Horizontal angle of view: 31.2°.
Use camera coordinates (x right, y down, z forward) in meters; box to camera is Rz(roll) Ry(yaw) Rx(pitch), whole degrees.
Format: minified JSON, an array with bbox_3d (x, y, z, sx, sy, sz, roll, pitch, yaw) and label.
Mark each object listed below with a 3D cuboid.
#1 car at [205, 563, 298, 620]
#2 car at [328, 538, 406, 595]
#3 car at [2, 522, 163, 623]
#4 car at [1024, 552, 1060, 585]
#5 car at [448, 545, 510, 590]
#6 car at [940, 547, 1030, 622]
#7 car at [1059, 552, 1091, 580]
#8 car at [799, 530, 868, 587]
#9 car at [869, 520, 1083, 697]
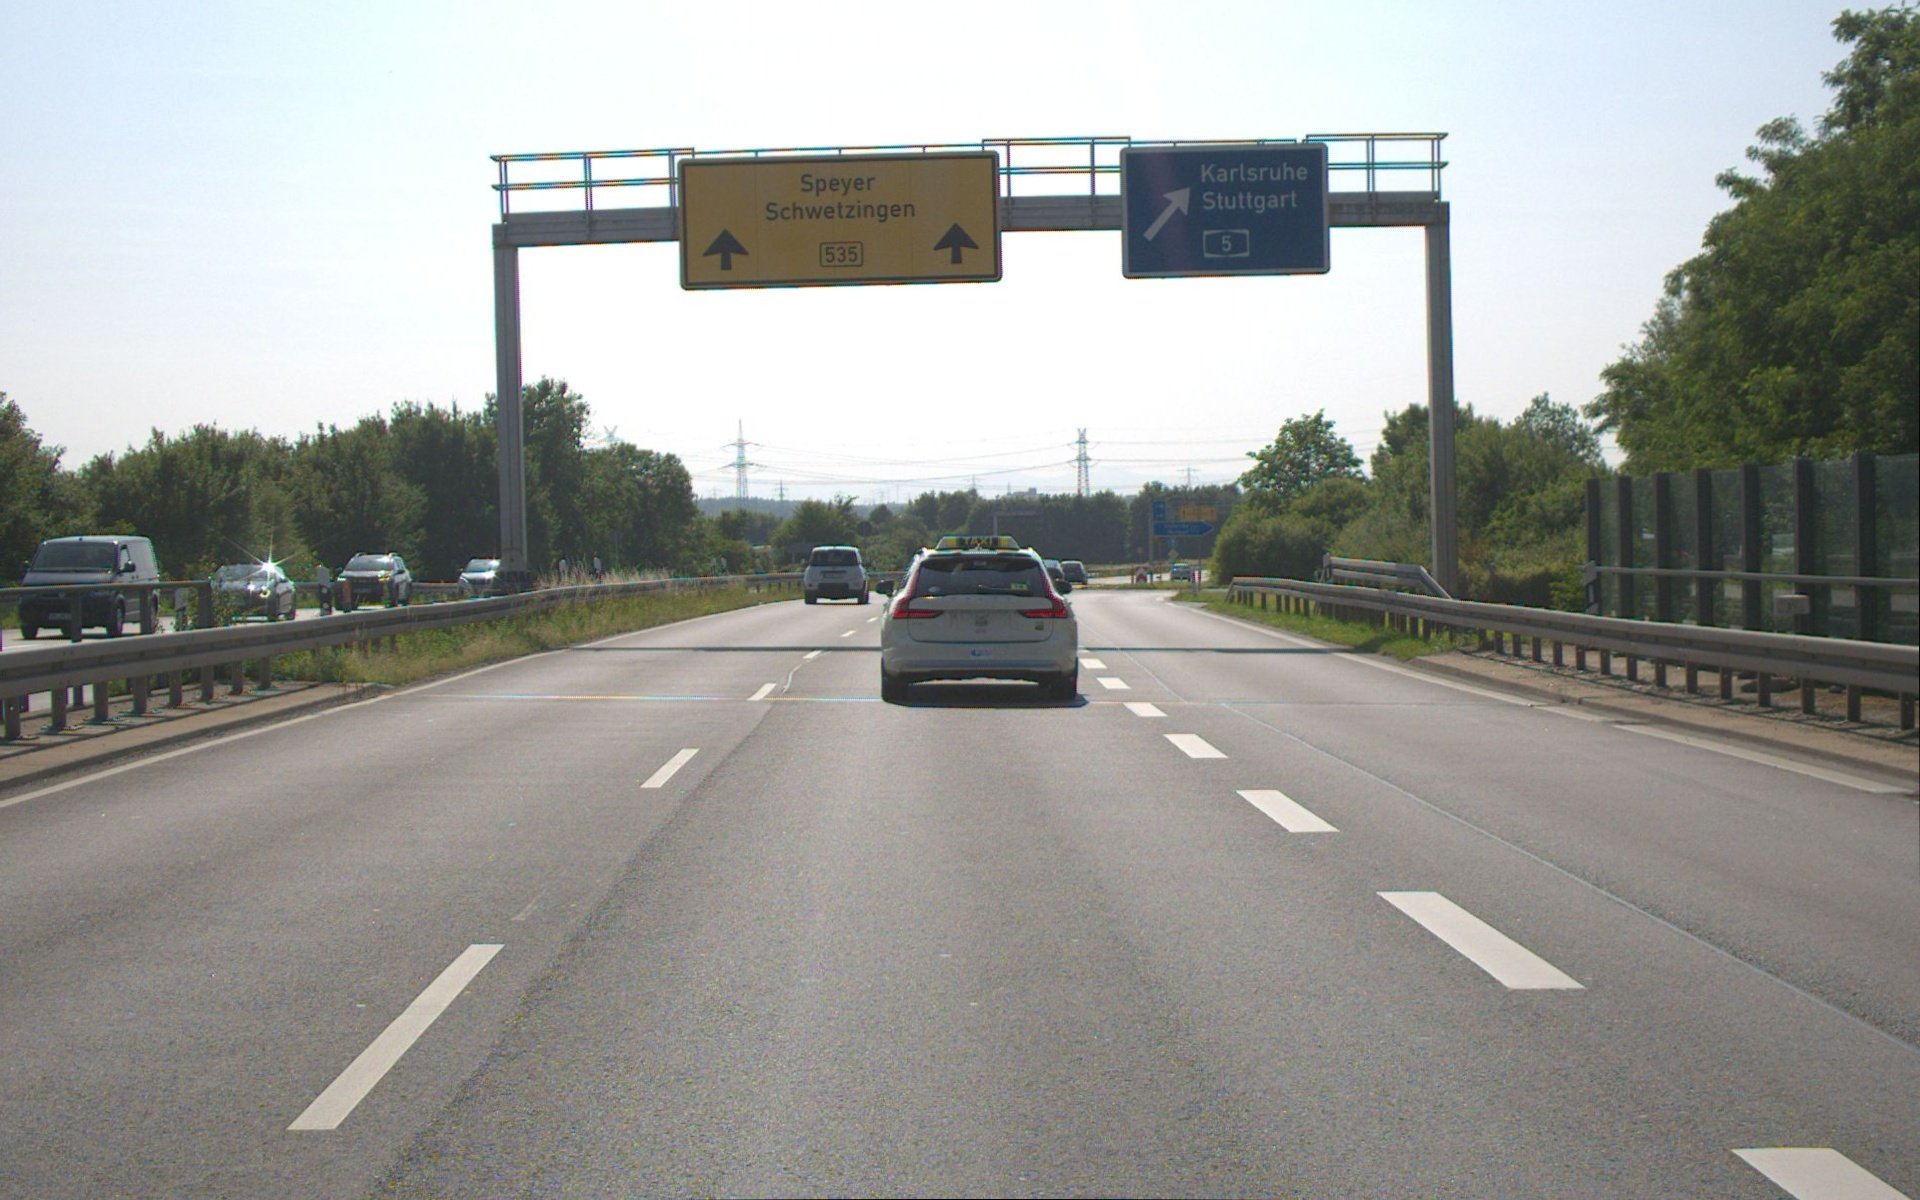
[{"bbox_3d":[-16.867,-0.219,81.944,1.566,1.265,3.716,0,2,-2],"label":"car"},{"bbox_3d":[-17.465,-1.011,101.335,1.732,1.611,4.003,0,2,-2],"label":"car"},{"bbox_3d":[-17.103,-0.569,67.197,1.993,1.899,4.418,-1,1,0],"label":"car"},{"bbox_3d":[4.469,-1.724,186.956,1.841,1.796,4.000,0,0,0],"label":"car"},{"bbox_3d":[-17.898,-1.234,128.148,1.901,1.614,4.630,0,1,-3],"label":"car"},{"bbox_3d":[0.500,-0.334,72.141,1.793,1.538,3.672,0,1,-1],"label":"car"},{"bbox_3d":[7.132,-2.117,213.404,1.841,1.692,4.000,0,0,0],"label":"car"},{"bbox_3d":[-3.388,-1.127,92.666,1.793,1.498,4.043,0,1,-1],"label":"car"},{"bbox_3d":[0.109,0.029,33.704,1.958,1.596,4.107,1,1,-1],"label":"car"}]
